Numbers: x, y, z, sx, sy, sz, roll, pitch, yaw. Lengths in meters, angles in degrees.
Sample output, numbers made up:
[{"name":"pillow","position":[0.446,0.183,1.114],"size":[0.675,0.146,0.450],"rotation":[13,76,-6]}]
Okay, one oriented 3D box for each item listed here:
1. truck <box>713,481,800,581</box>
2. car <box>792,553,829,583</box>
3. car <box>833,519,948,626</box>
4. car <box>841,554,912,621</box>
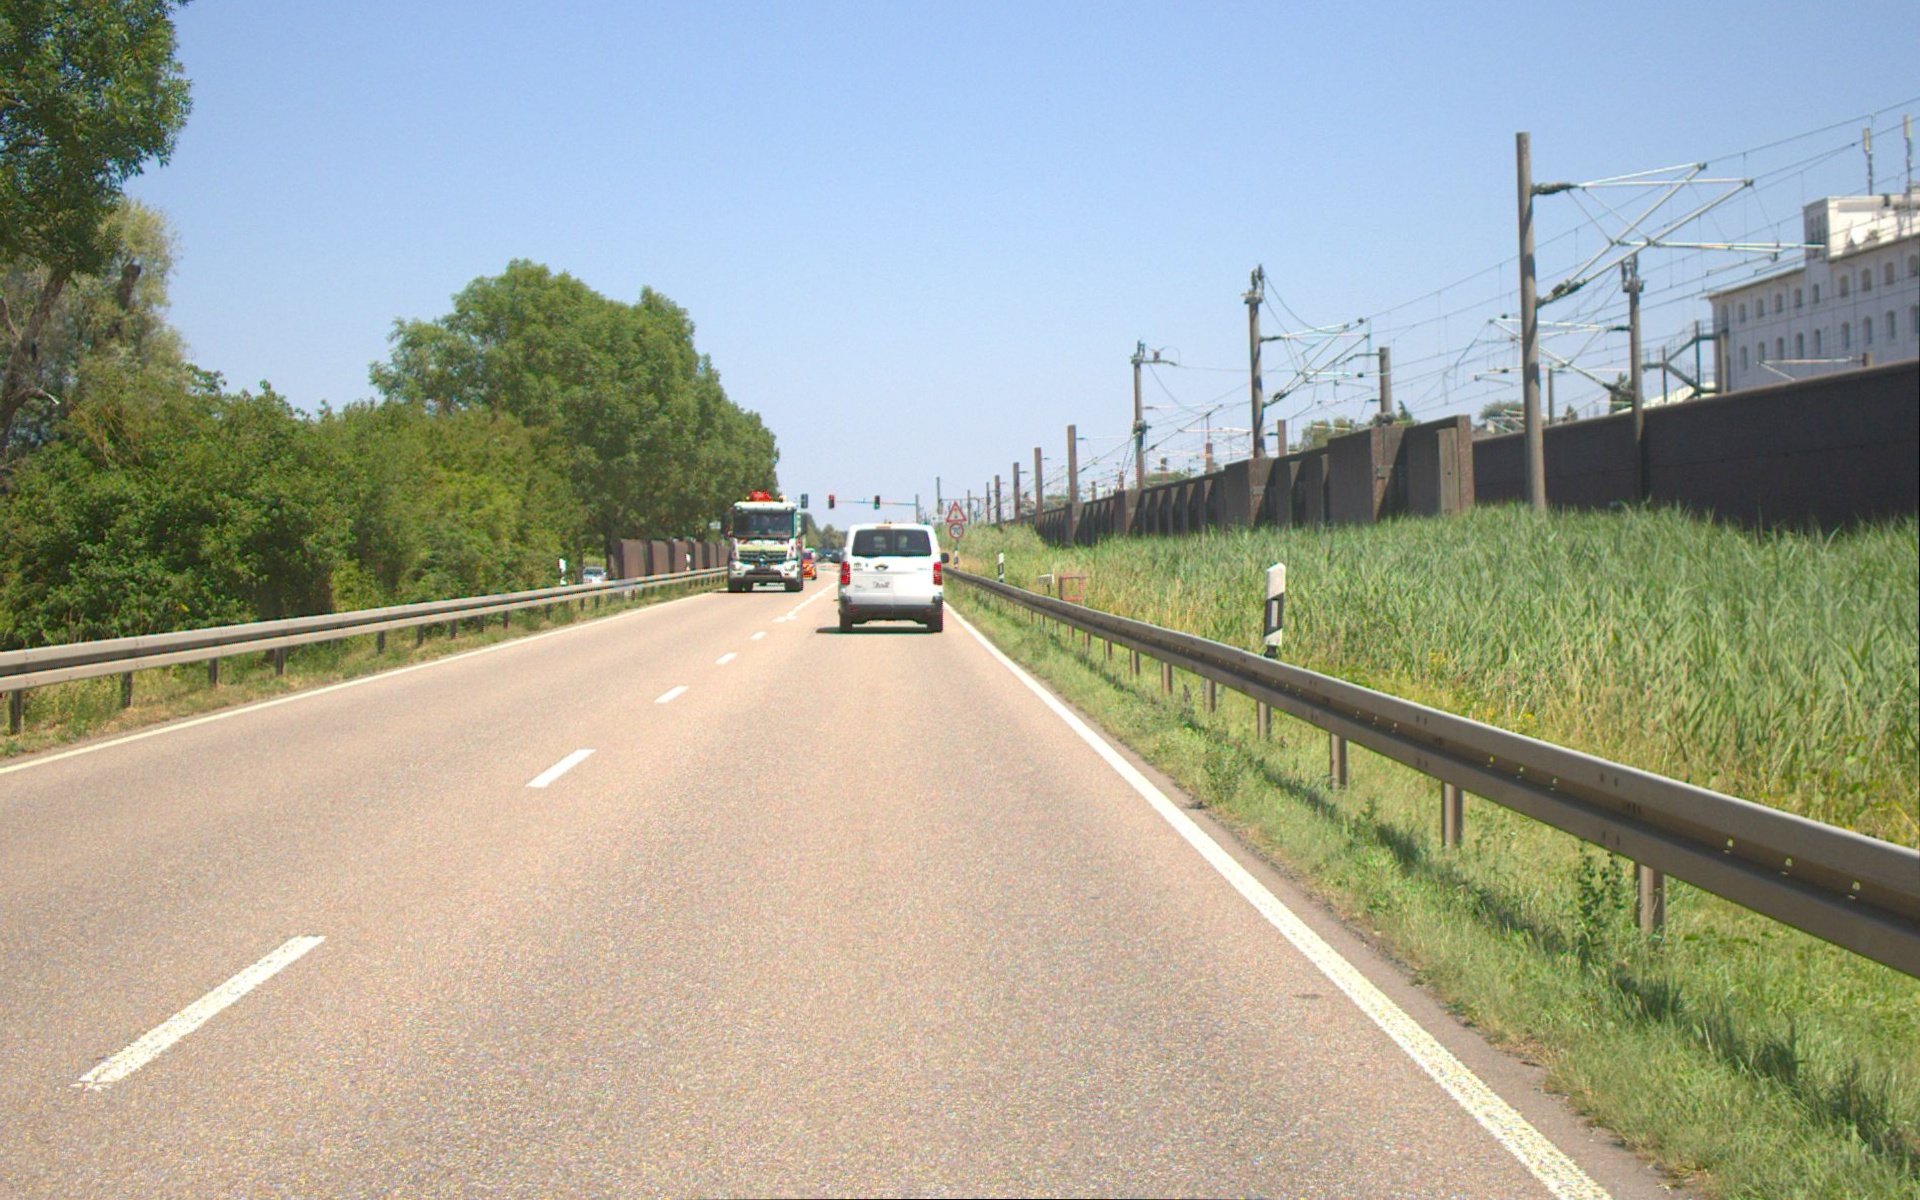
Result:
[{"name":"truck","position":[-7.147,-2.435,121.413],"size":[2.783,3.393,7.989],"rotation":[1,1,-2]},{"name":"car","position":[-7.384,-1.595,170.164],"size":[1.789,1.417,4.000],"rotation":[0,1,-2]},{"name":"car","position":[-1.250,-0.510,61.984],"size":[1.993,1.843,4.000],"rotation":[1,1,-1]},{"name":"car","position":[-2.391,-0.371,99.148],"size":[1.993,1.843,4.000],"rotation":[1,1,-1]}]
